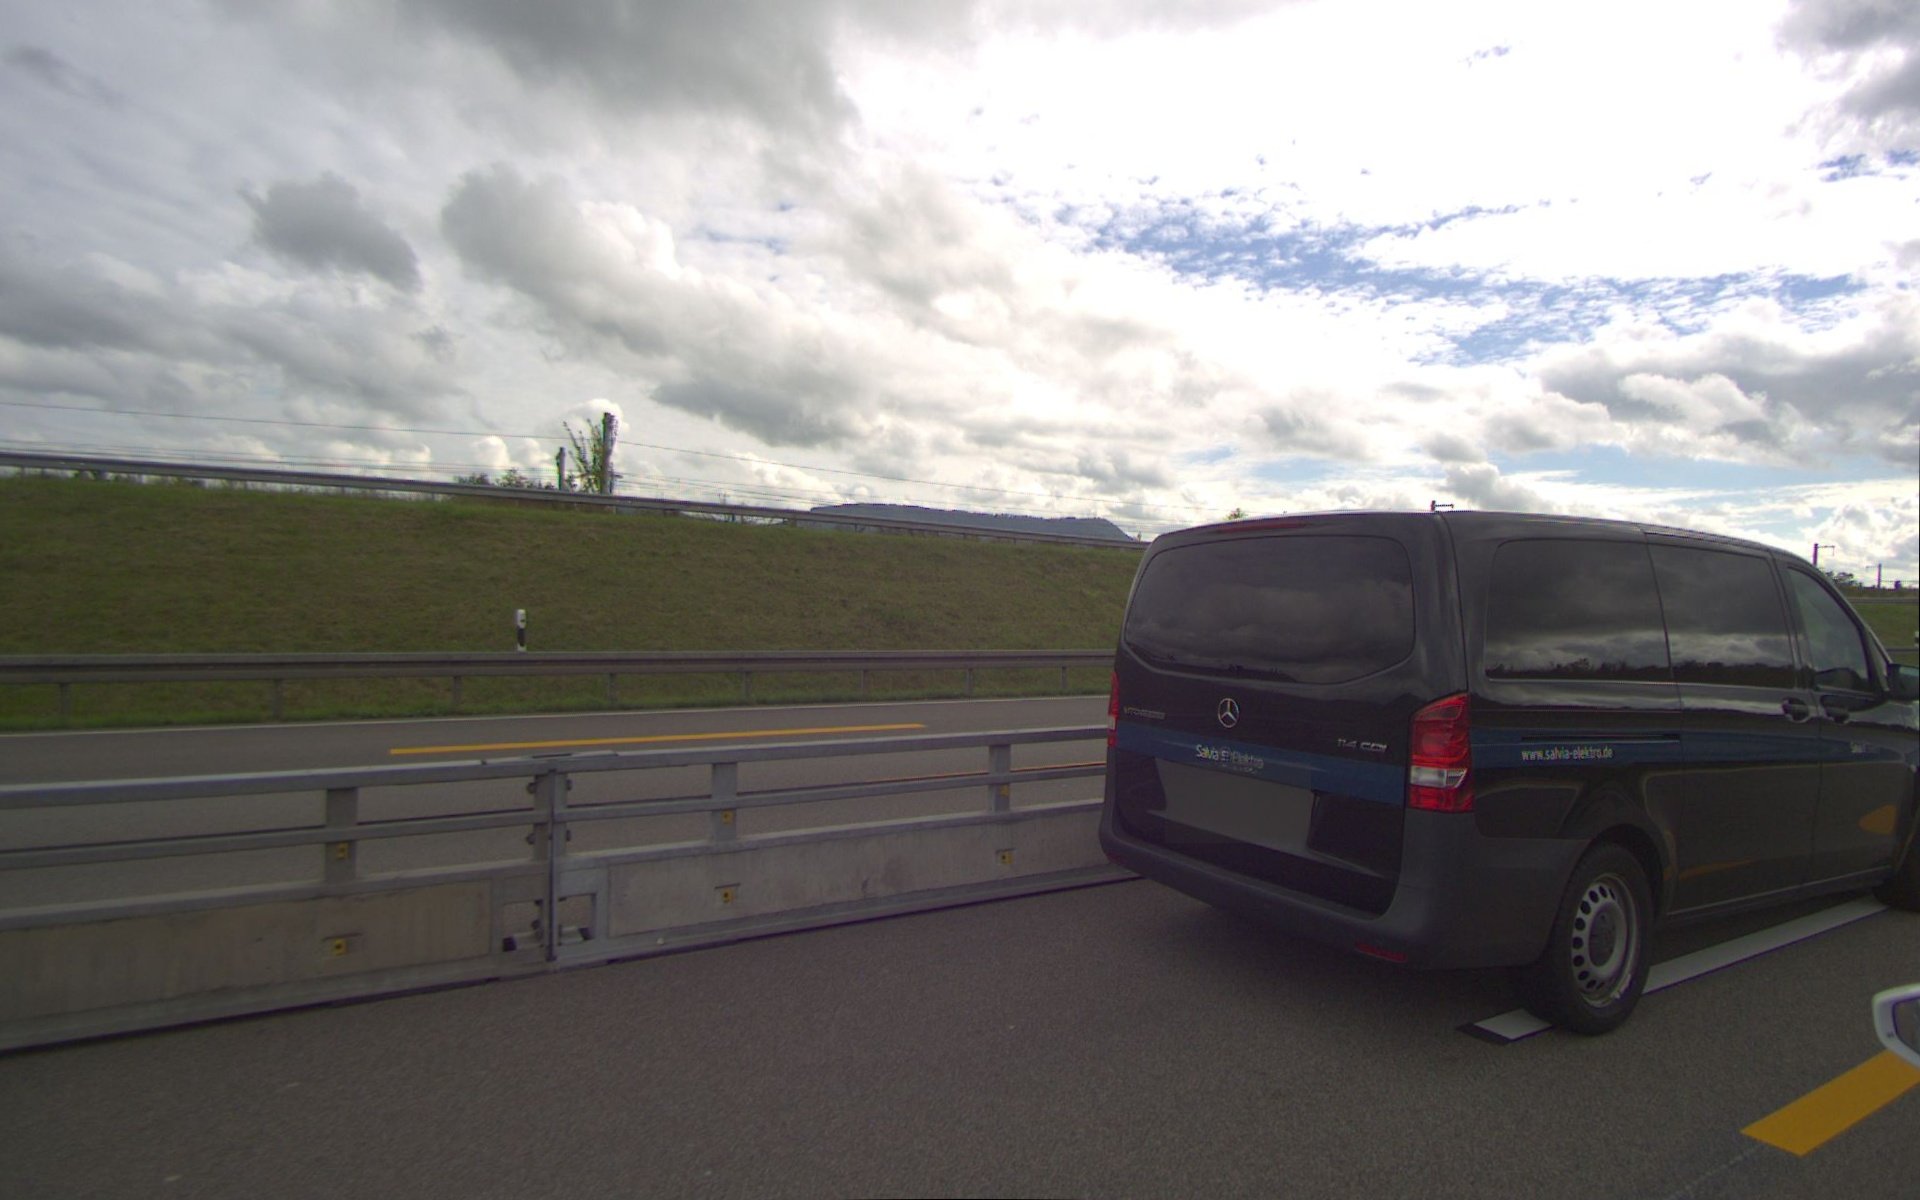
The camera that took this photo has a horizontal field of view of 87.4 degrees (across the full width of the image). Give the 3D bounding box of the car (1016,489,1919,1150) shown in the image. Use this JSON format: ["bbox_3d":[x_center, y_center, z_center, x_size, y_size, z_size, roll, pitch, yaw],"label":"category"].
[{"bbox_3d":[3.134,0.689,5.120,5.544,1.867,1.984,1,-1,-30],"label":"car"}]
